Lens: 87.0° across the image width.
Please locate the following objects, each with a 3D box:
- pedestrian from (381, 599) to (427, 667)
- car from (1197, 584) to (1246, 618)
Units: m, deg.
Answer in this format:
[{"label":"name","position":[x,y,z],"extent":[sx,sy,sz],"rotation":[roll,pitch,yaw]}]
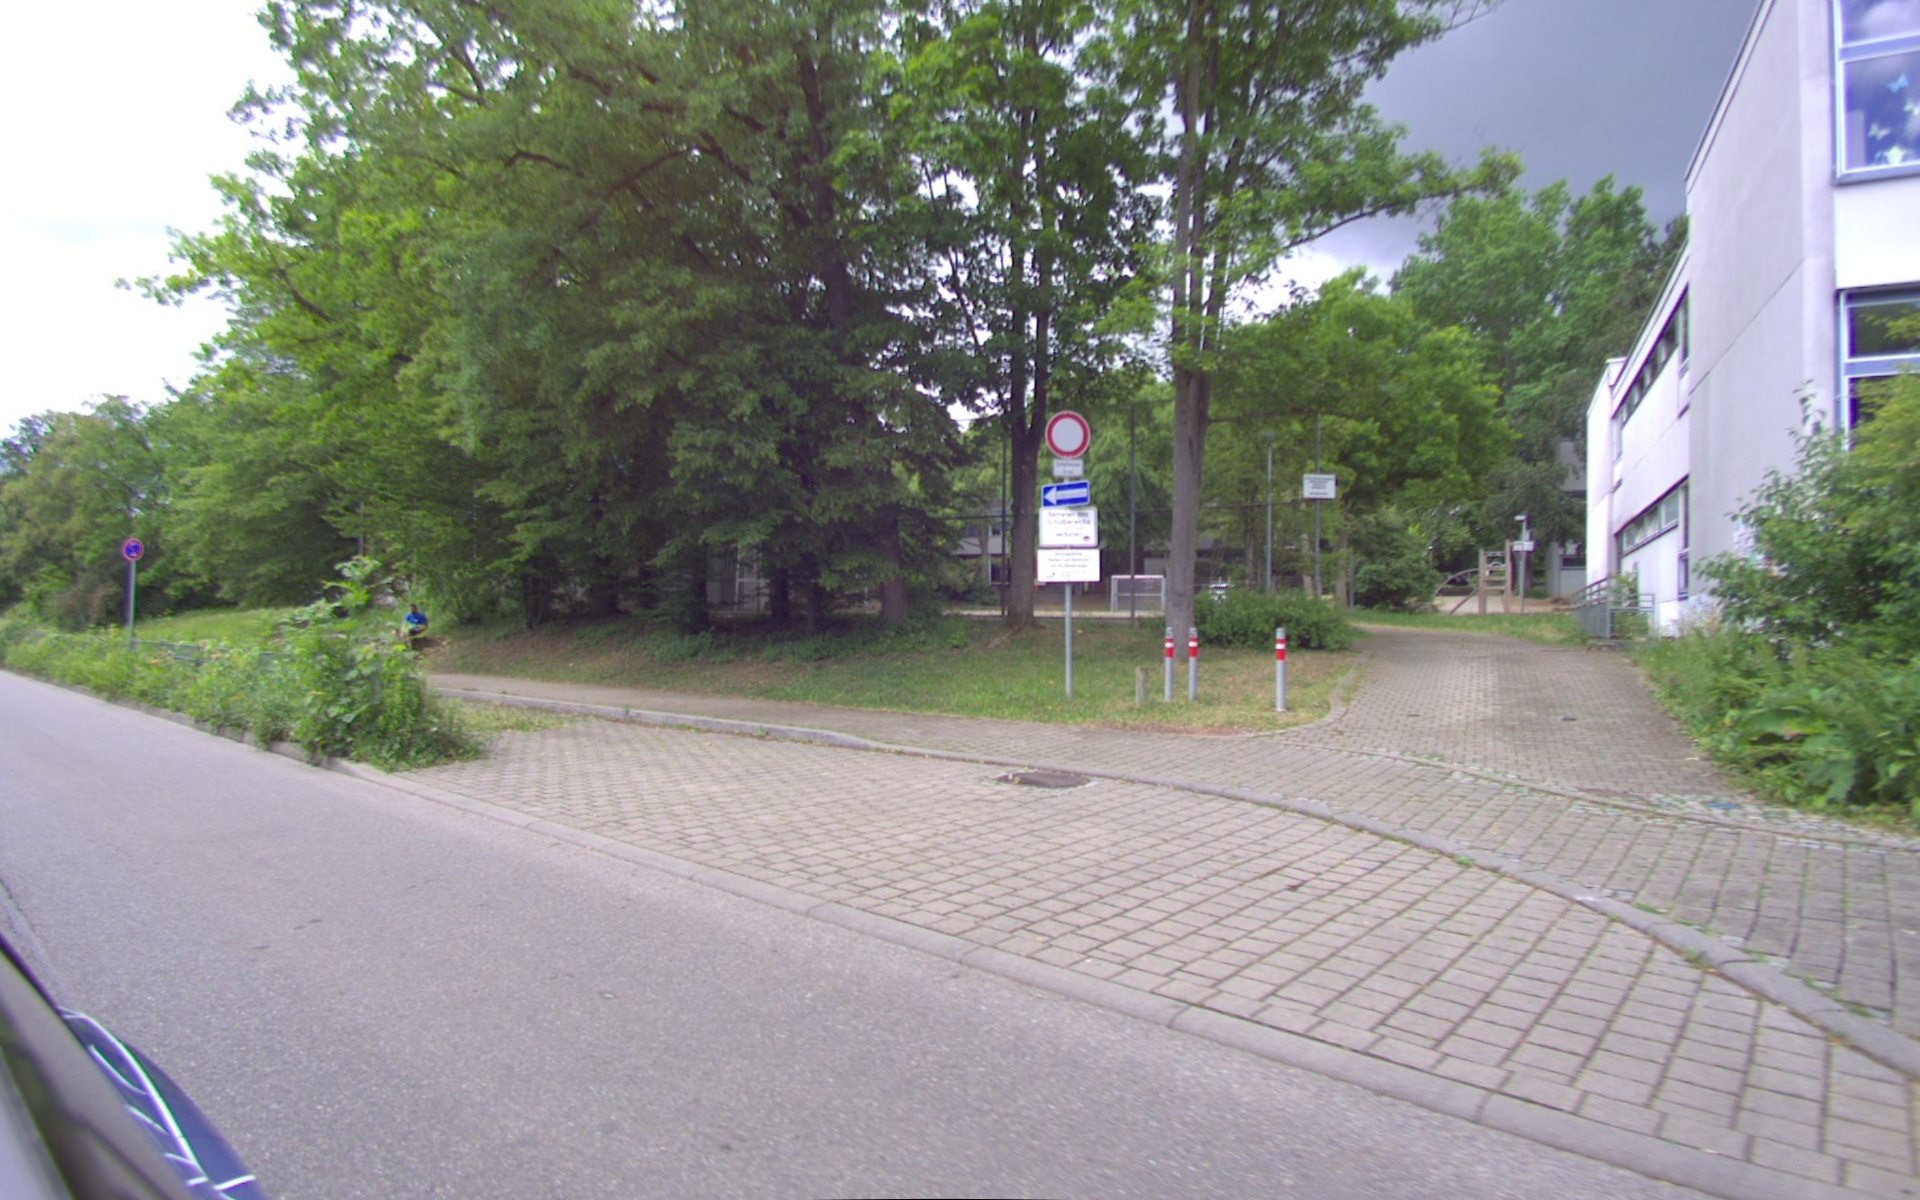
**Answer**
[{"label":"pedestrian","position":[-13.951,0.818,25.394],"extent":[0.808,1.675,0.752],"rotation":[-1,-2,39]},{"label":"car","position":[14.301,0.073,55.204],"extent":[1.962,1.707,4.414],"rotation":[0,-2,23]}]
